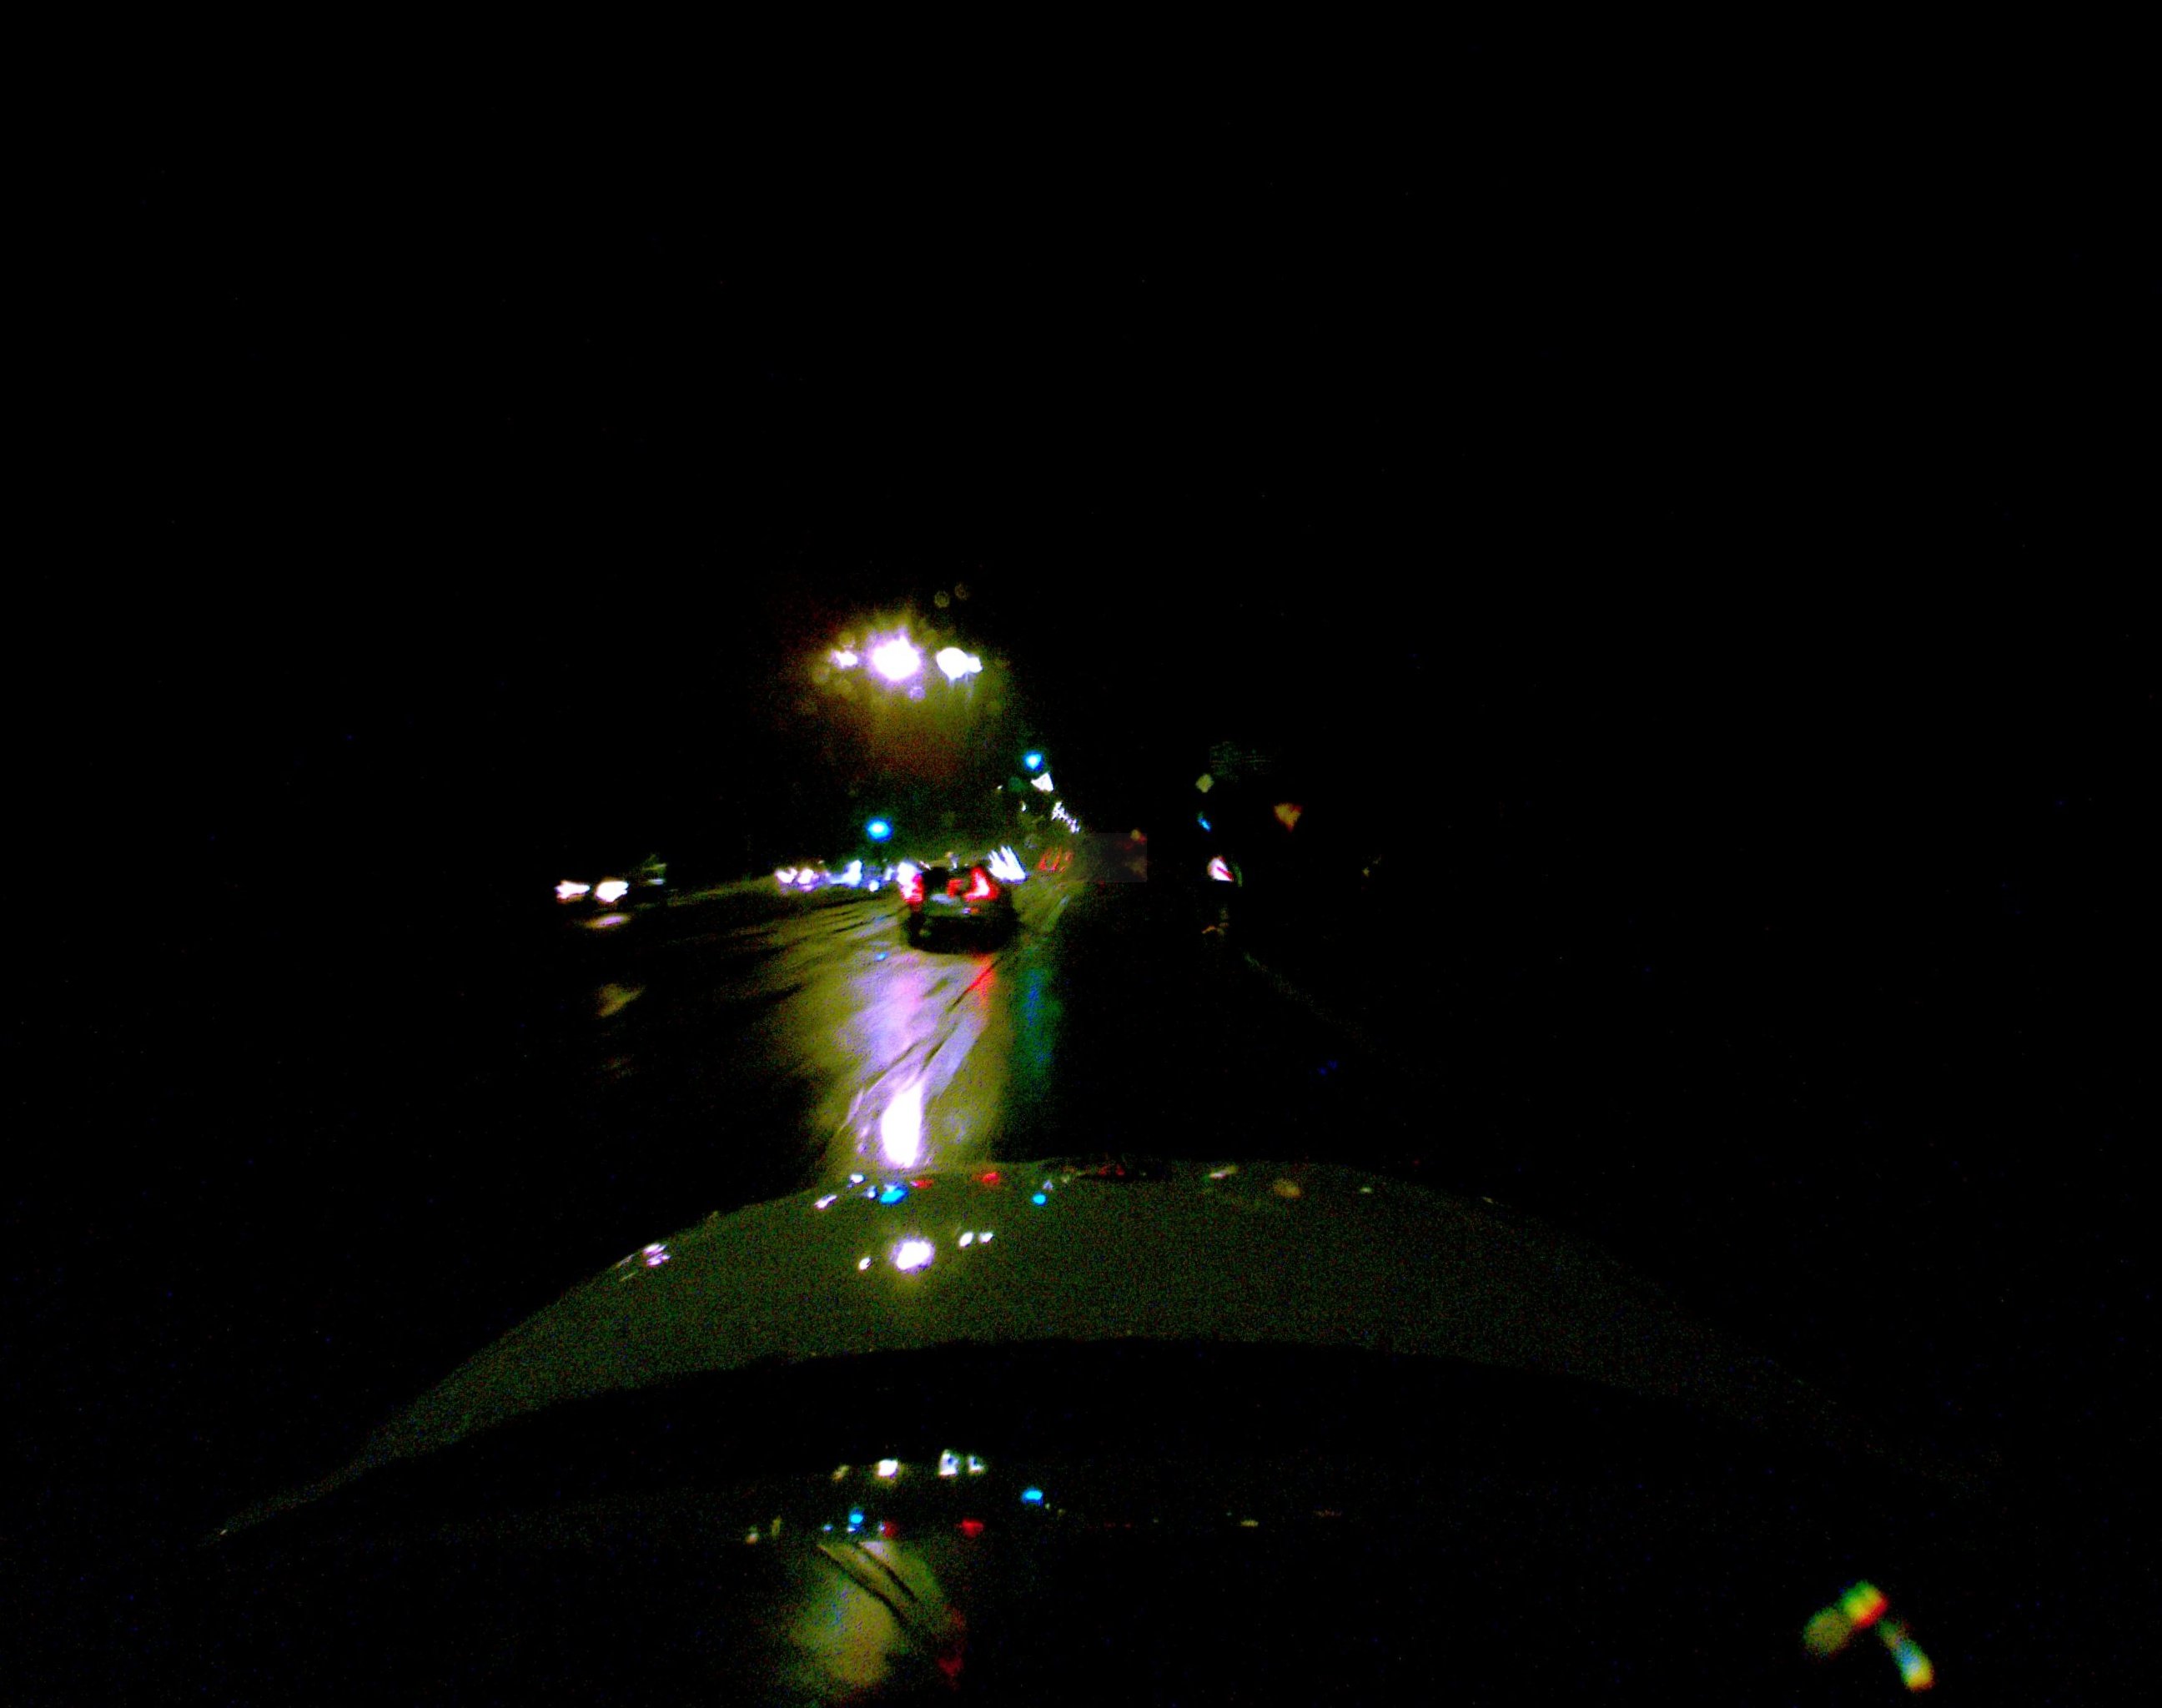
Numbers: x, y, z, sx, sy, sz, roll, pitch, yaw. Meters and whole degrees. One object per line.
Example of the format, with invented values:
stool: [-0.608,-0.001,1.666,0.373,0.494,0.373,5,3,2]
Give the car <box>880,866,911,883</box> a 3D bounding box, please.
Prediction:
car: [-16.882,1.901,74.235,1.842,1.456,4.095,1,-3,0]

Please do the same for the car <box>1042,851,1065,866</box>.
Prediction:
car: [-3.309,0.529,97.779,2.167,1.602,4.005,3,-2,5]

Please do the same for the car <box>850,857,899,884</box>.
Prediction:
car: [-13.425,1.032,53.170,1.774,1.608,4.248,-2,0,4]

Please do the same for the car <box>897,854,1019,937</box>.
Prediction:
car: [-2.415,0.749,16.987,1.790,1.452,4.270,0,1,1]

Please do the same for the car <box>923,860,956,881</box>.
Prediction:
car: [-10.210,1.177,58.859,1.583,1.427,3.353,-1,0,3]

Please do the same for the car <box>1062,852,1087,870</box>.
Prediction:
car: [-0.618,0.706,82.458,2.169,1.602,4.001,3,-2,2]

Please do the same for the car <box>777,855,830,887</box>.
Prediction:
car: [-17.210,1.018,50.711,1.756,1.892,4.207,-1,0,1]

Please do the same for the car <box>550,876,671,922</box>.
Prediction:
car: [-14.581,1.364,25.484,1.638,1.203,3.615,-1,0,0]

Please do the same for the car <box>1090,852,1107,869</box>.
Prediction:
car: [2.183,0.849,101.526,1.986,1.839,4.001,4,-3,2]

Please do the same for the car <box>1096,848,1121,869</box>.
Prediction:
car: [2.443,0.424,71.469,1.901,1.602,4.005,3,-2,5]
